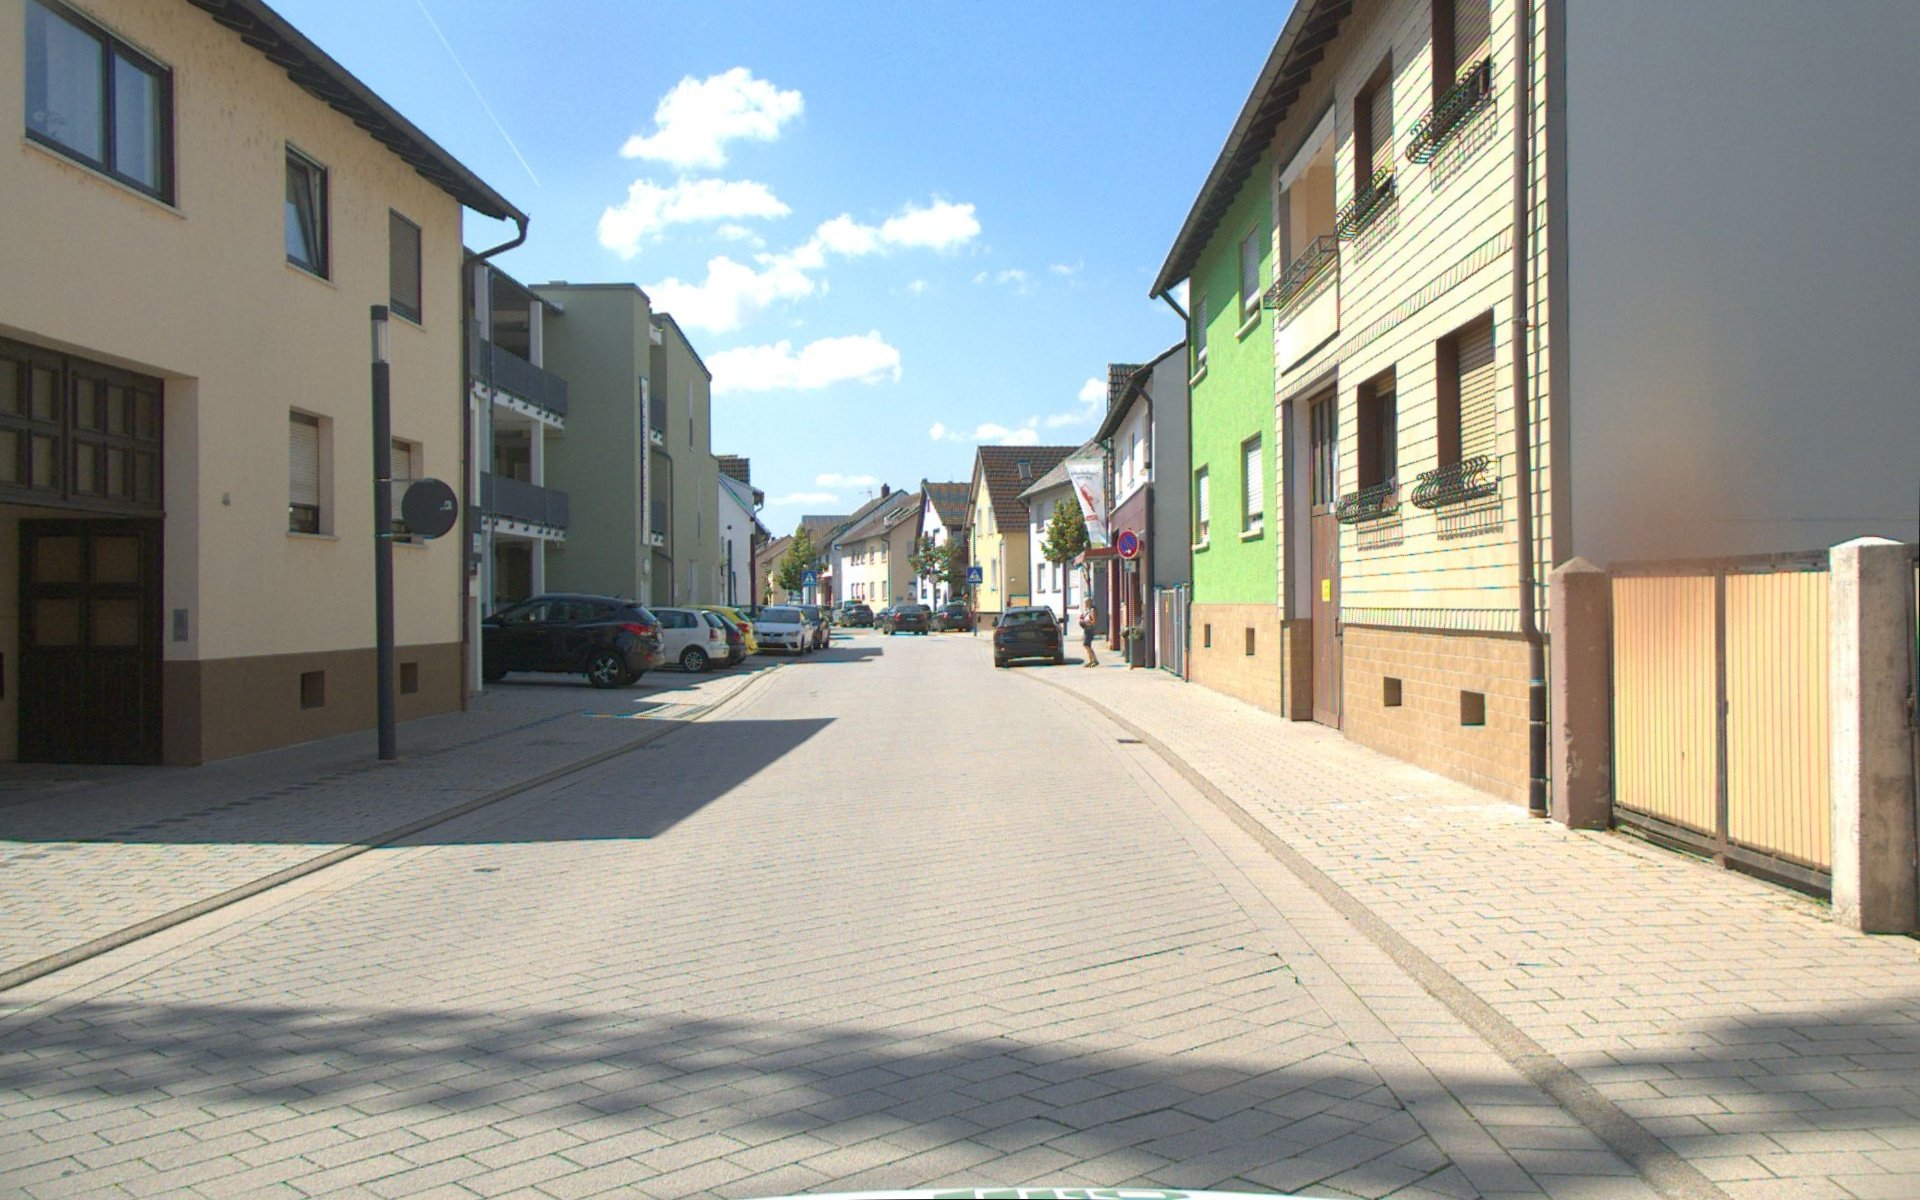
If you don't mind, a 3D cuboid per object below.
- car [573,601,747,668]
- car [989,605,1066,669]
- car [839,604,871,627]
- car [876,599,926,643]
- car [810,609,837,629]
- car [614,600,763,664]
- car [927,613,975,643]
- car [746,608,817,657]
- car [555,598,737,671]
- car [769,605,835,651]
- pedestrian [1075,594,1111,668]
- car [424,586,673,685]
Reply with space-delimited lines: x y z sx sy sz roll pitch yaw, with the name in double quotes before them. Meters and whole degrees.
"car" -7.345 0.834 40.788 3.905 1.467 1.691 2 0 1
"car" 1.807 0.910 42.849 1.819 1.484 4.588 -3 0 4
"car" -7.624 1.143 120.122 1.844 1.619 3.989 -1 0 -11
"car" -2.965 1.029 82.144 1.957 2.094 4.365 -1 0 -9
"car" -11.095 1.544 134.365 1.723 1.519 3.989 -1 0 -11
"car" -7.156 0.820 43.811 3.615 1.552 1.673 2 0 1
"car" -0.528 1.531 89.858 1.796 1.497 4.264 -3 0 -11
"car" -5.559 0.994 51.998 1.721 1.435 3.878 1 0 1
"car" -7.312 0.791 38.740 3.820 1.529 1.751 2 0 2
"car" -5.473 0.942 57.762 1.776 1.516 4.278 1 0 1
"pedestrian" 3.109 0.717 38.708 0.714 1.668 0.749 -4 -1 4
"car" -7.613 0.646 30.873 4.132 1.687 1.784 2 0 0
